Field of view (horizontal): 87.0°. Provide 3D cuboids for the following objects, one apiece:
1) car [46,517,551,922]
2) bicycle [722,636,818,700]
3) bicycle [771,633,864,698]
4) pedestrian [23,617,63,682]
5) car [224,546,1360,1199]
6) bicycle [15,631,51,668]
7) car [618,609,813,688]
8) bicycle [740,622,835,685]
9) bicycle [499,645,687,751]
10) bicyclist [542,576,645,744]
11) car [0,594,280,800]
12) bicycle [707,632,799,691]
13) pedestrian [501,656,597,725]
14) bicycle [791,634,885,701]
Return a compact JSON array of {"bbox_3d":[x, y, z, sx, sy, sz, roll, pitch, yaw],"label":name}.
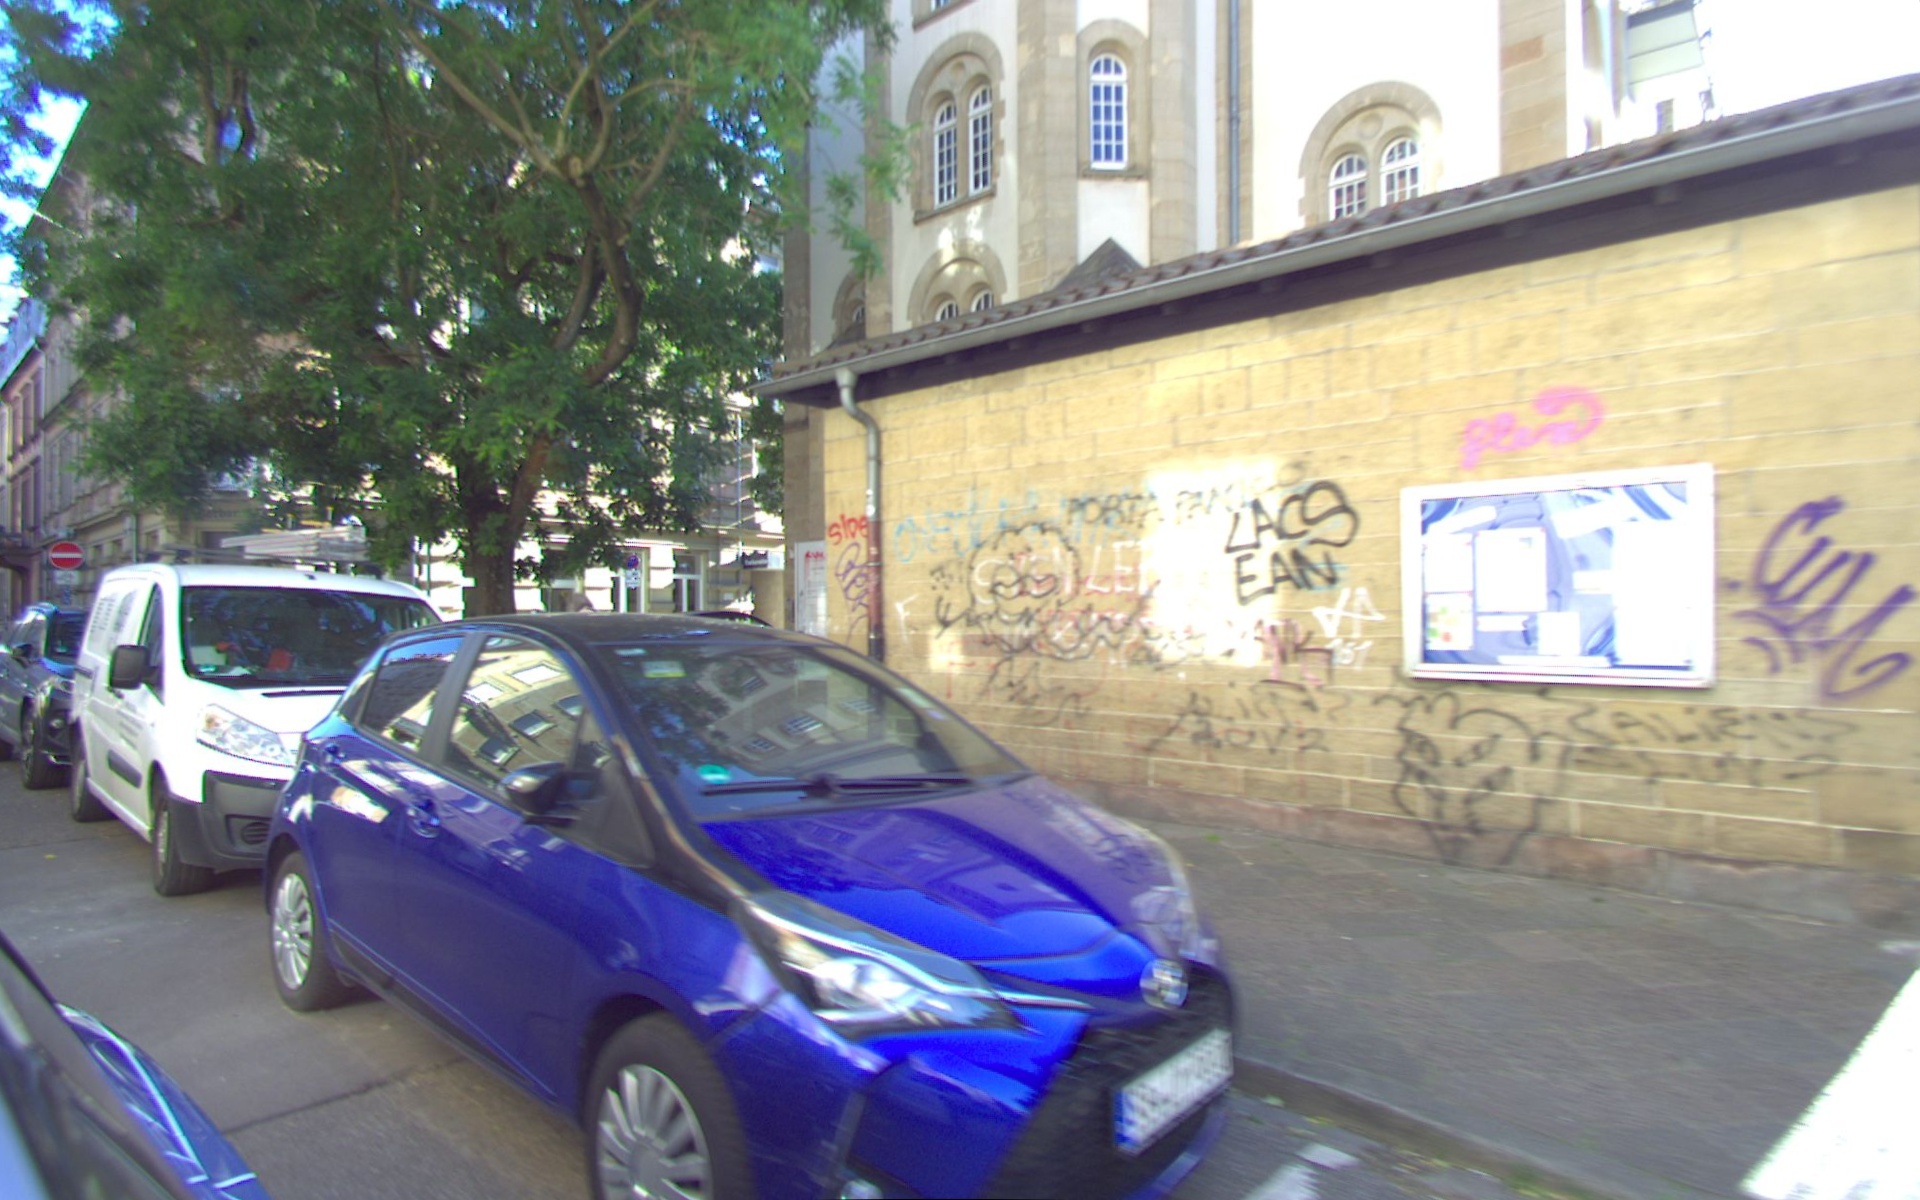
[{"bbox_3d":[-4.709,0.620,6.896,4.464,1.876,1.825,-2,-2,42],"label":"car"},{"bbox_3d":[-3.388,1.197,18.173,0.533,1.062,1.757,-2,-2,40],"label":"bicycle"},{"bbox_3d":[-2.473,1.127,17.720,0.478,1.062,1.757,-2,-2,40],"label":"bicycle"},{"bbox_3d":[-23.164,1.238,25.569,0.759,1.592,0.660,-1,-1,40],"label":"pedestrian"},{"bbox_3d":[-0.903,0.741,3.400,3.858,1.488,1.670,-2,-4,41],"label":"car"},{"bbox_3d":[-30.233,1.607,32.984,1.784,1.133,0.660,-2,0,42],"label":"bicycle"},{"bbox_3d":[-5.372,1.044,22.623,1.769,1.610,3.946,-4,-3,40],"label":"car"},{"bbox_3d":[-3.010,0.916,17.794,0.478,1.062,1.757,-2,-2,40],"label":"bicycle"},{"bbox_3d":[-4.002,1.029,11.103,1.740,0.930,0.828,-3,1,-41],"label":"bicycle"},{"bbox_3d":[-4.022,0.623,11.104,0.795,1.736,0.693,-3,2,-41],"label":"bicyclist"},{"bbox_3d":[-8.608,0.840,10.219,4.284,1.659,1.723,-1,-2,39],"label":"car"},{"bbox_3d":[-3.899,1.142,19.162,0.533,1.062,1.757,-2,-2,40],"label":"bicycle"},{"bbox_3d":[-5.119,1.114,12.645,0.697,0.784,0.913,-1,-2,17],"label":"pedestrian"},{"bbox_3d":[-2.071,1.136,17.384,0.478,1.062,1.757,-2,-2,40],"label":"bicycle"}]
